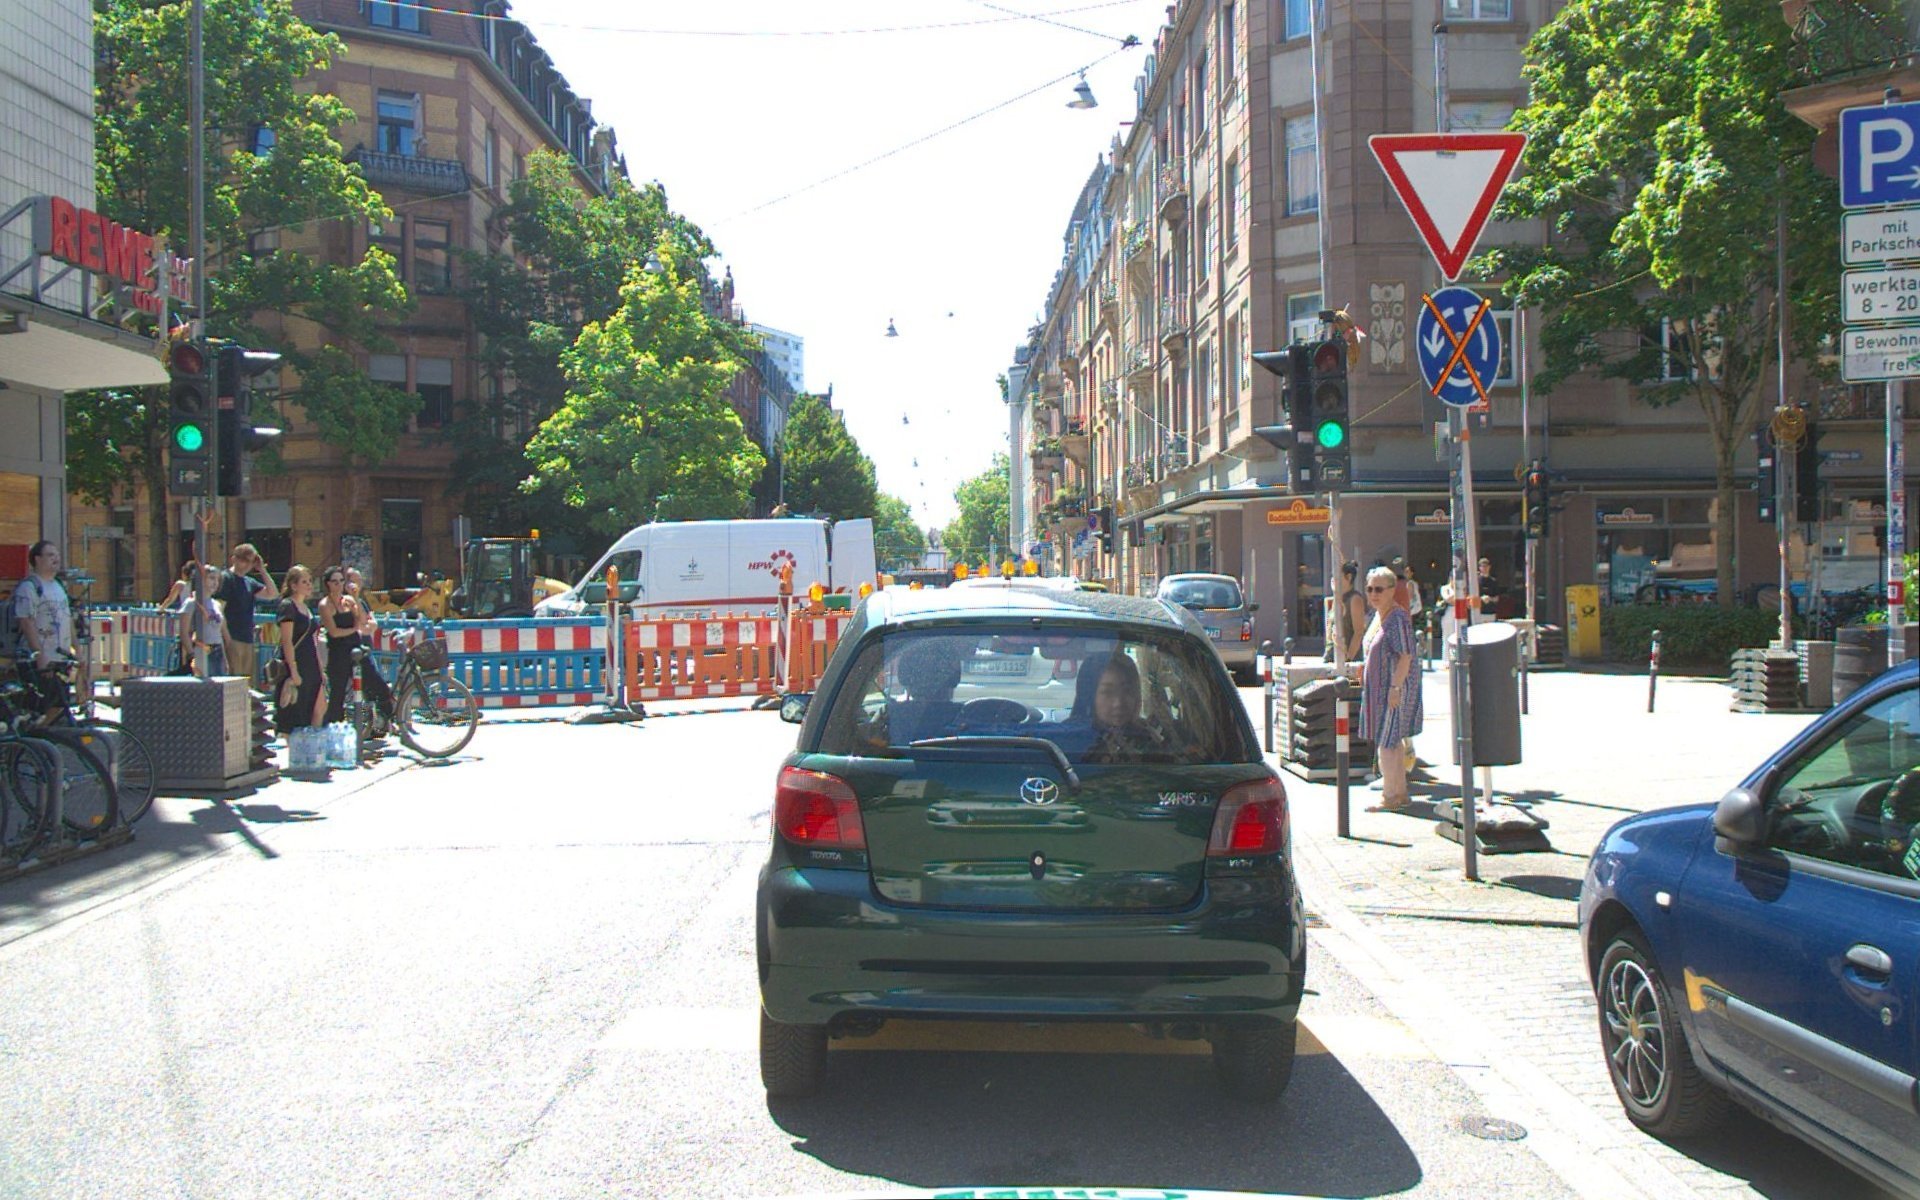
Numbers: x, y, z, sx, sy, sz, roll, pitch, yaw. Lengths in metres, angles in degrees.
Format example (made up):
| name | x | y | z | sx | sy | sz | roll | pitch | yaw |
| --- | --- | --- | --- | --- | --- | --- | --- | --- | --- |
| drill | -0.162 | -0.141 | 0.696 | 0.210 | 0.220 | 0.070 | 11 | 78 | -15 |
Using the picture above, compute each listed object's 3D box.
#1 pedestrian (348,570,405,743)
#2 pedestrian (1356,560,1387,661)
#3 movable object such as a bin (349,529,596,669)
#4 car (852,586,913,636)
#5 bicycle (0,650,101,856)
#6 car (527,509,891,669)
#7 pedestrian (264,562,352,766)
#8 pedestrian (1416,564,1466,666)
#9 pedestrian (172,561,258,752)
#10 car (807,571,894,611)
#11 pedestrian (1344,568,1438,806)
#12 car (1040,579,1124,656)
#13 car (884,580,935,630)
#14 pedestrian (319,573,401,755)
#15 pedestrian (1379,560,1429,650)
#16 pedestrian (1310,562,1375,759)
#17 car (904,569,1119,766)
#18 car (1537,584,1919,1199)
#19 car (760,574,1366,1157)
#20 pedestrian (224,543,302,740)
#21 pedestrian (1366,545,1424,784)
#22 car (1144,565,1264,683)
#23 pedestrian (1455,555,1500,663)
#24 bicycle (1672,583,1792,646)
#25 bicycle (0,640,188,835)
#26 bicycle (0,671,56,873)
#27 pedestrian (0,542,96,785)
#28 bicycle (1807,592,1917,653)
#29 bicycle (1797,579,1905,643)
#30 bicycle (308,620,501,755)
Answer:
| name | x | y | z | sx | sy | sz | roll | pitch | yaw |
| --- | --- | --- | --- | --- | --- | --- | --- | --- | --- |
| pedestrian | -5.647 | 0.532 | 16.008 | 0.382 | 1.646 | 0.475 | -1 | 0 | -3 |
| pedestrian | 7.254 | 0.187 | 29.136 | 0.467 | 1.763 | 0.872 | -1 | -1 | 18 |
| movable object such as a bin | -9.953 | -0.031 | 34.004 | 4.451 | 2.705 | 1.954 | 1 | 0 | -1 |
| car | -2.374 | 0.318 | 51.546 | 1.719 | 1.469 | 4.000 | -1 | 0 | -1 |
| bicycle | -5.765 | 0.853 | 9.435 | 1.489 | 1.136 | 0.335 | 2 | 0 | -5 |
| car | -4.634 | -0.207 | 31.425 | 6.486 | 2.799 | 2.380 | 1 | 0 | 0 |
| pedestrian | -5.443 | 0.522 | 13.822 | 0.530 | 1.661 | 0.511 | -1 | 0 | -3 |
| pedestrian | 8.246 | 0.253 | 28.348 | 0.688 | 1.673 | 0.422 | -3 | 4 | -9 |
| pedestrian | -6.627 | 0.492 | 14.728 | 0.499 | 1.661 | 0.599 | -1 | 0 | -3 |
| car | -6.179 | -0.528 | 93.250 | 4.506 | 2.226 | 1.982 | -1 | 0 | -28 |
| pedestrian | 2.922 | 0.579 | 11.239 | 0.482 | 1.570 | 0.437 | -3 | 0 | 5 |
| car | 2.552 | 0.319 | 33.943 | 1.593 | 1.457 | 3.663 | -2 | 0 | 6 |
| car | -1.834 | 0.172 | 61.225 | 1.719 | 1.673 | 4.377 | -4 | 0 | -1 |
| pedestrian | -5.399 | 0.558 | 14.890 | 0.486 | 1.593 | 0.459 | 2 | 1 | 25 |
| pedestrian | 8.259 | 0.087 | 30.778 | 0.784 | 1.652 | 0.643 | -1 | 0 | 4 |
| pedestrian | 3.150 | 0.489 | 13.643 | 0.450 | 1.587 | 0.479 | -1 | 0 | 5 |
| car | 0.557 | 0.509 | 14.693 | 1.490 | 1.547 | 3.267 | -1 | 1 | 9 |
| car | 2.736 | 0.705 | 3.500 | 1.595 | 1.457 | 3.658 | -2 | 0 | -3 |
| car | 0.337 | 0.680 | 5.957 | 1.580 | 1.511 | 3.242 | 0 | 0 | 3 |
| pedestrian | -6.711 | 0.390 | 15.936 | 0.499 | 1.851 | 0.599 | -1 | 0 | -3 |
| pedestrian | 3.143 | 0.459 | 11.971 | 0.325 | 1.705 | 0.402 | -1 | 0 | 5 |
| car | 3.651 | 0.312 | 24.399 | 1.490 | 1.620 | 3.267 | 0 | 1 | 13 |
| pedestrian | 8.953 | 0.147 | 28.596 | 0.564 | 1.799 | 0.471 | -3 | 4 | -9 |
| bicycle | 14.310 | 0.268 | 30.695 | 1.938 | 1.152 | 0.517 | -1 | 0 | 17 |
| bicycle | -5.816 | 0.831 | 10.229 | 1.763 | 1.142 | 0.577 | 1 | 0 | -7 |
| bicycle | -5.710 | 0.908 | 8.917 | 1.419 | 1.054 | 0.335 | 2 | 0 | -5 |
| pedestrian | -6.995 | 0.468 | 12.605 | 0.499 | 1.801 | 0.599 | -1 | 0 | -3 |
| bicycle | 15.959 | 0.396 | 29.275 | 1.726 | 1.014 | 0.470 | -1 | 2 | -5 |
| bicycle | 15.962 | 0.195 | 29.654 | 1.726 | 1.099 | 0.470 | -1 | 2 | -5 |
| bicycle | -5.069 | 0.777 | 15.077 | 1.767 | 1.138 | 0.468 | 1 | 1 | 21 |
